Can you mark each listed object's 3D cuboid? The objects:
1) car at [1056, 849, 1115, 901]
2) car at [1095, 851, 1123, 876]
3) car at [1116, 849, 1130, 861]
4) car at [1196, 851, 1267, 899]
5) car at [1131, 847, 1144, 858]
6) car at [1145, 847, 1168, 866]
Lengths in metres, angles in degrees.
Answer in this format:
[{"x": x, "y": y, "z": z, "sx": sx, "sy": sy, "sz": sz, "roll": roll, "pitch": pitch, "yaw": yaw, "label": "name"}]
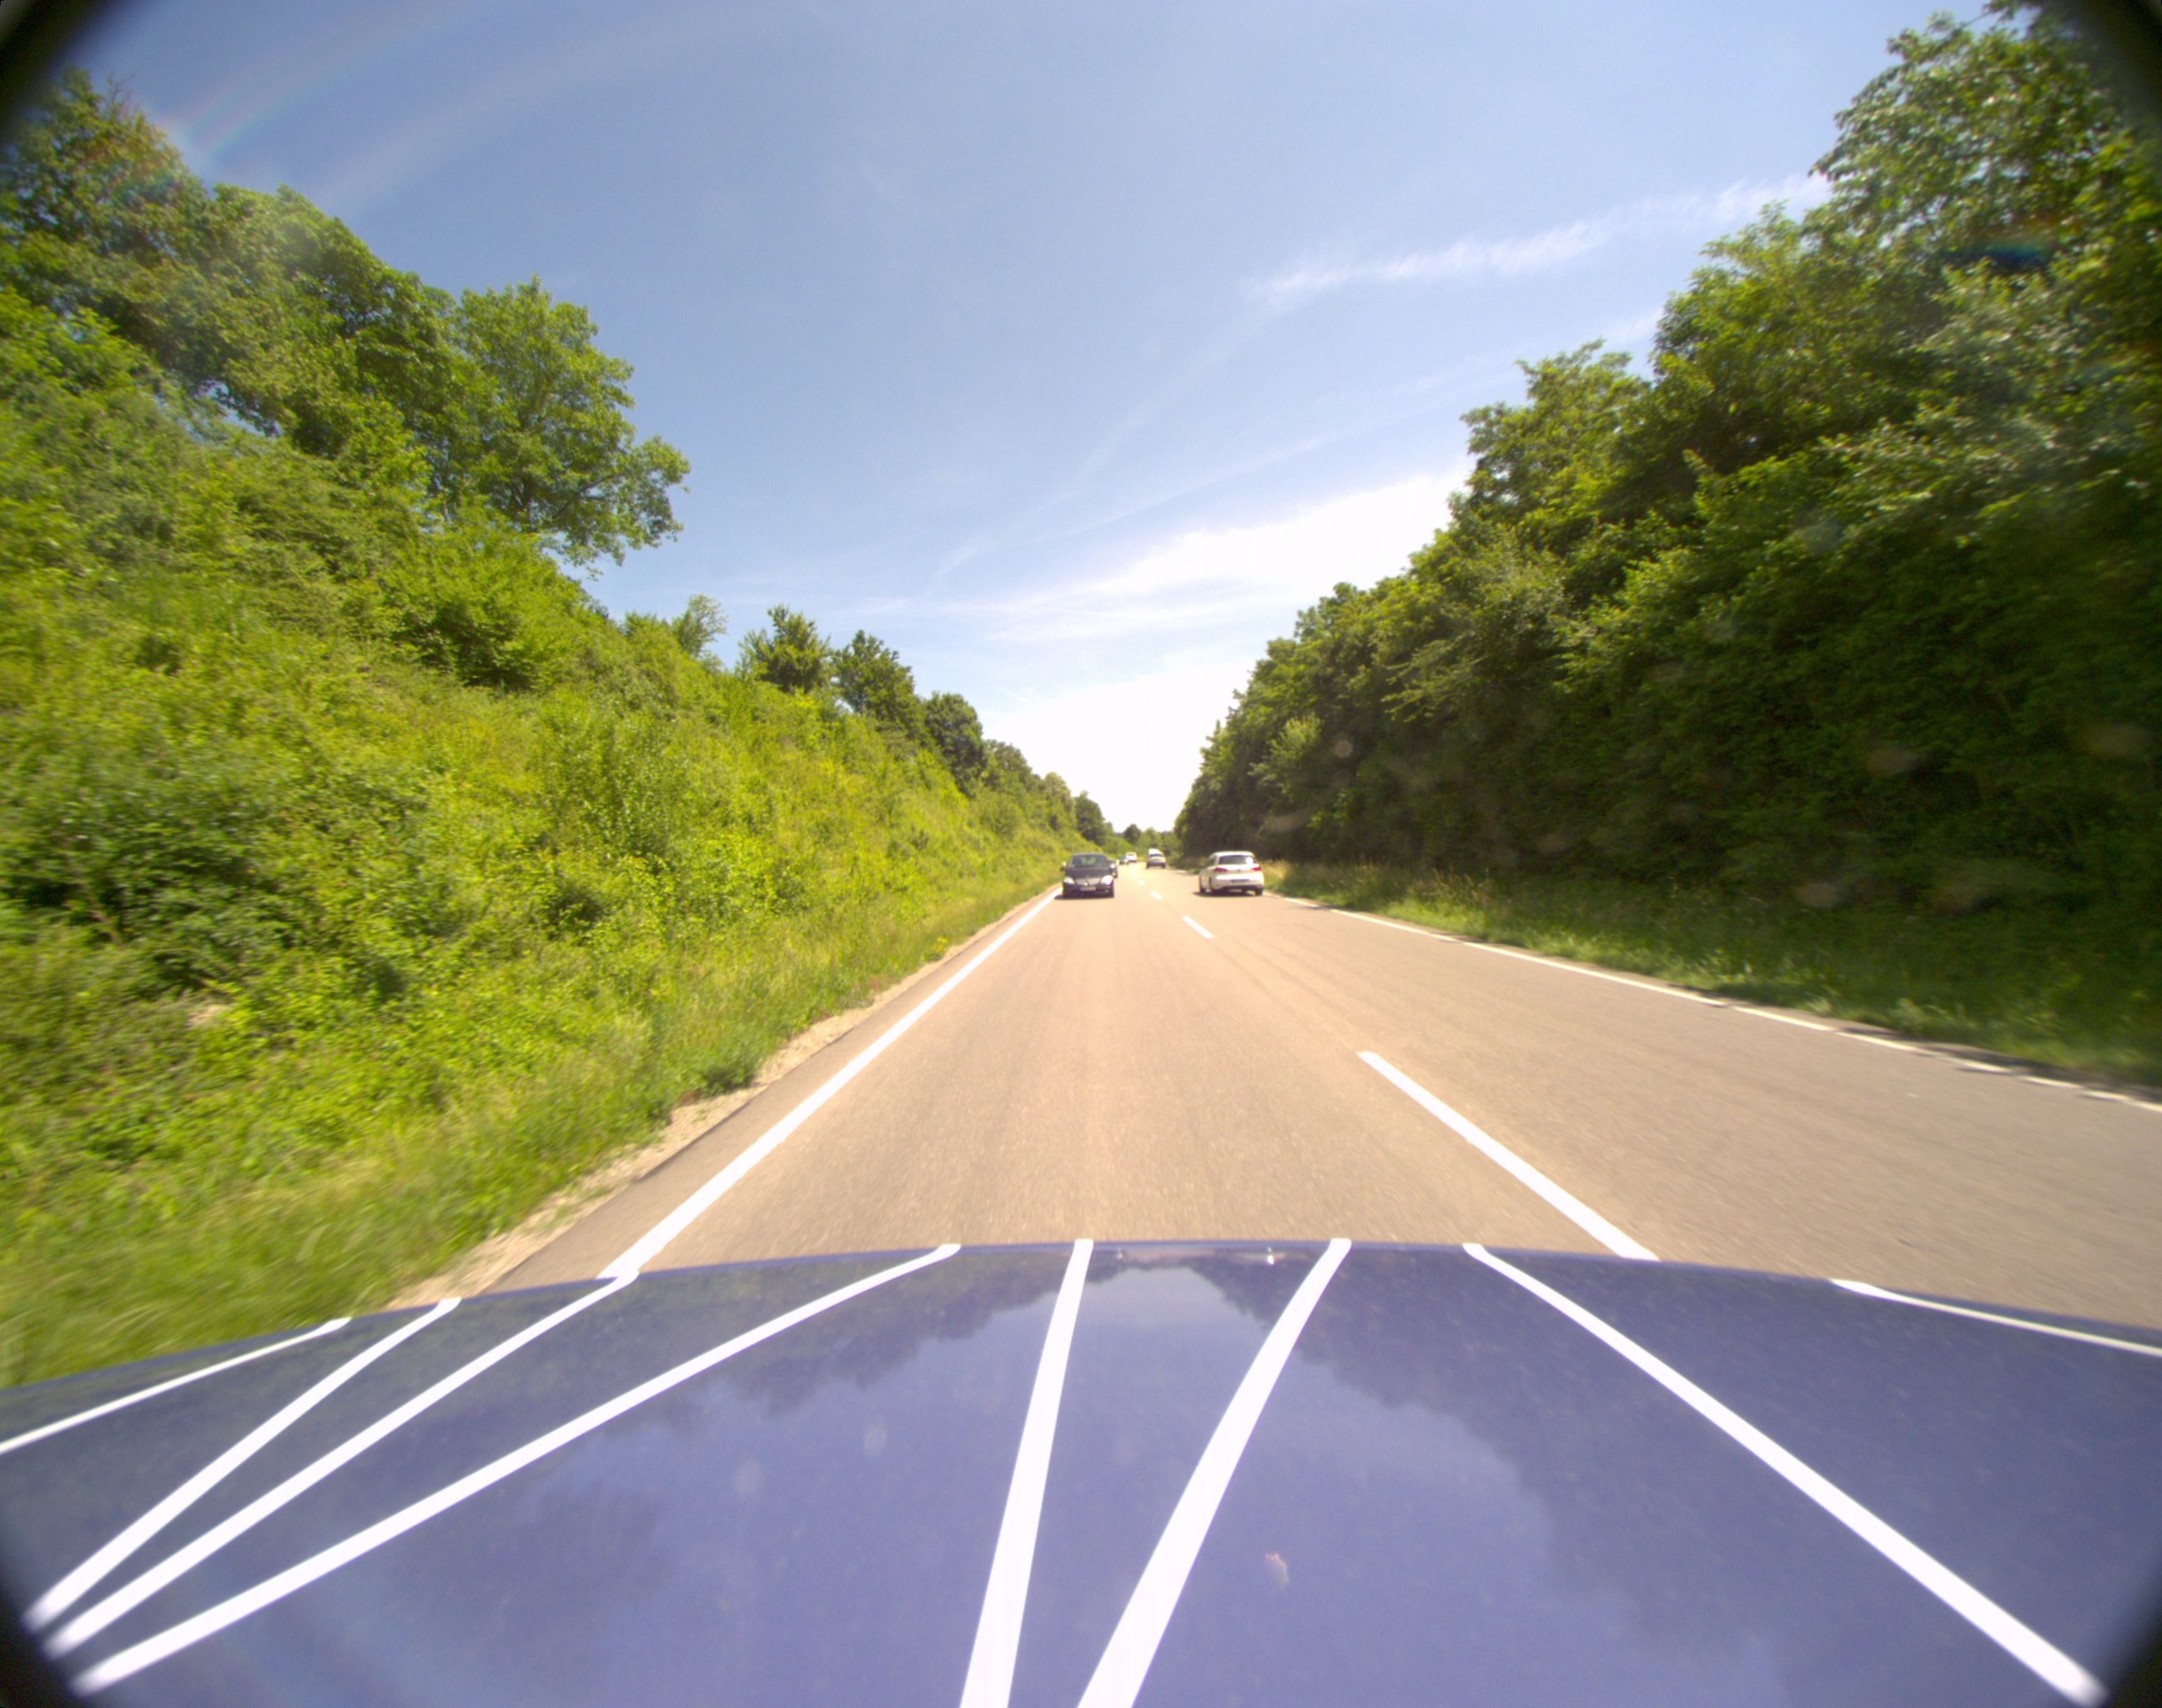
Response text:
[{"x": 0.257, "y": 0.688, "z": 27.728, "sx": 1.783, "sy": 1.676, "sz": 4.780, "roll": -2, "pitch": 0, "yaw": 4, "label": "car"}, {"x": 1.865, "y": 0.593, "z": 49.340, "sx": 1.709, "sy": 1.445, "sz": 5.415, "roll": -2, "pitch": 0, "yaw": 3, "label": "car"}, {"x": 6.210, "y": 0.134, "z": 112.266, "sx": 2.045, "sy": 1.743, "sz": 4.167, "roll": -2, "pitch": 0, "yaw": 3, "label": "car"}, {"x": 5.186, "y": 0.675, "z": 26.665, "sx": 1.749, "sy": 1.471, "sz": 4.166, "roll": -2, "pitch": 0, "yaw": 2, "label": "car"}, {"x": 10.349, "y": -0.298, "z": 138.535, "sx": 1.997, "sy": 2.002, "sz": 4.002, "roll": -2, "pitch": 1, "yaw": 8, "label": "car"}, {"x": 7.492, "y": 0.227, "z": 75.851, "sx": 2.045, "sy": 1.743, "sz": 4.167, "roll": -2, "pitch": 0, "yaw": 3, "label": "car"}]
